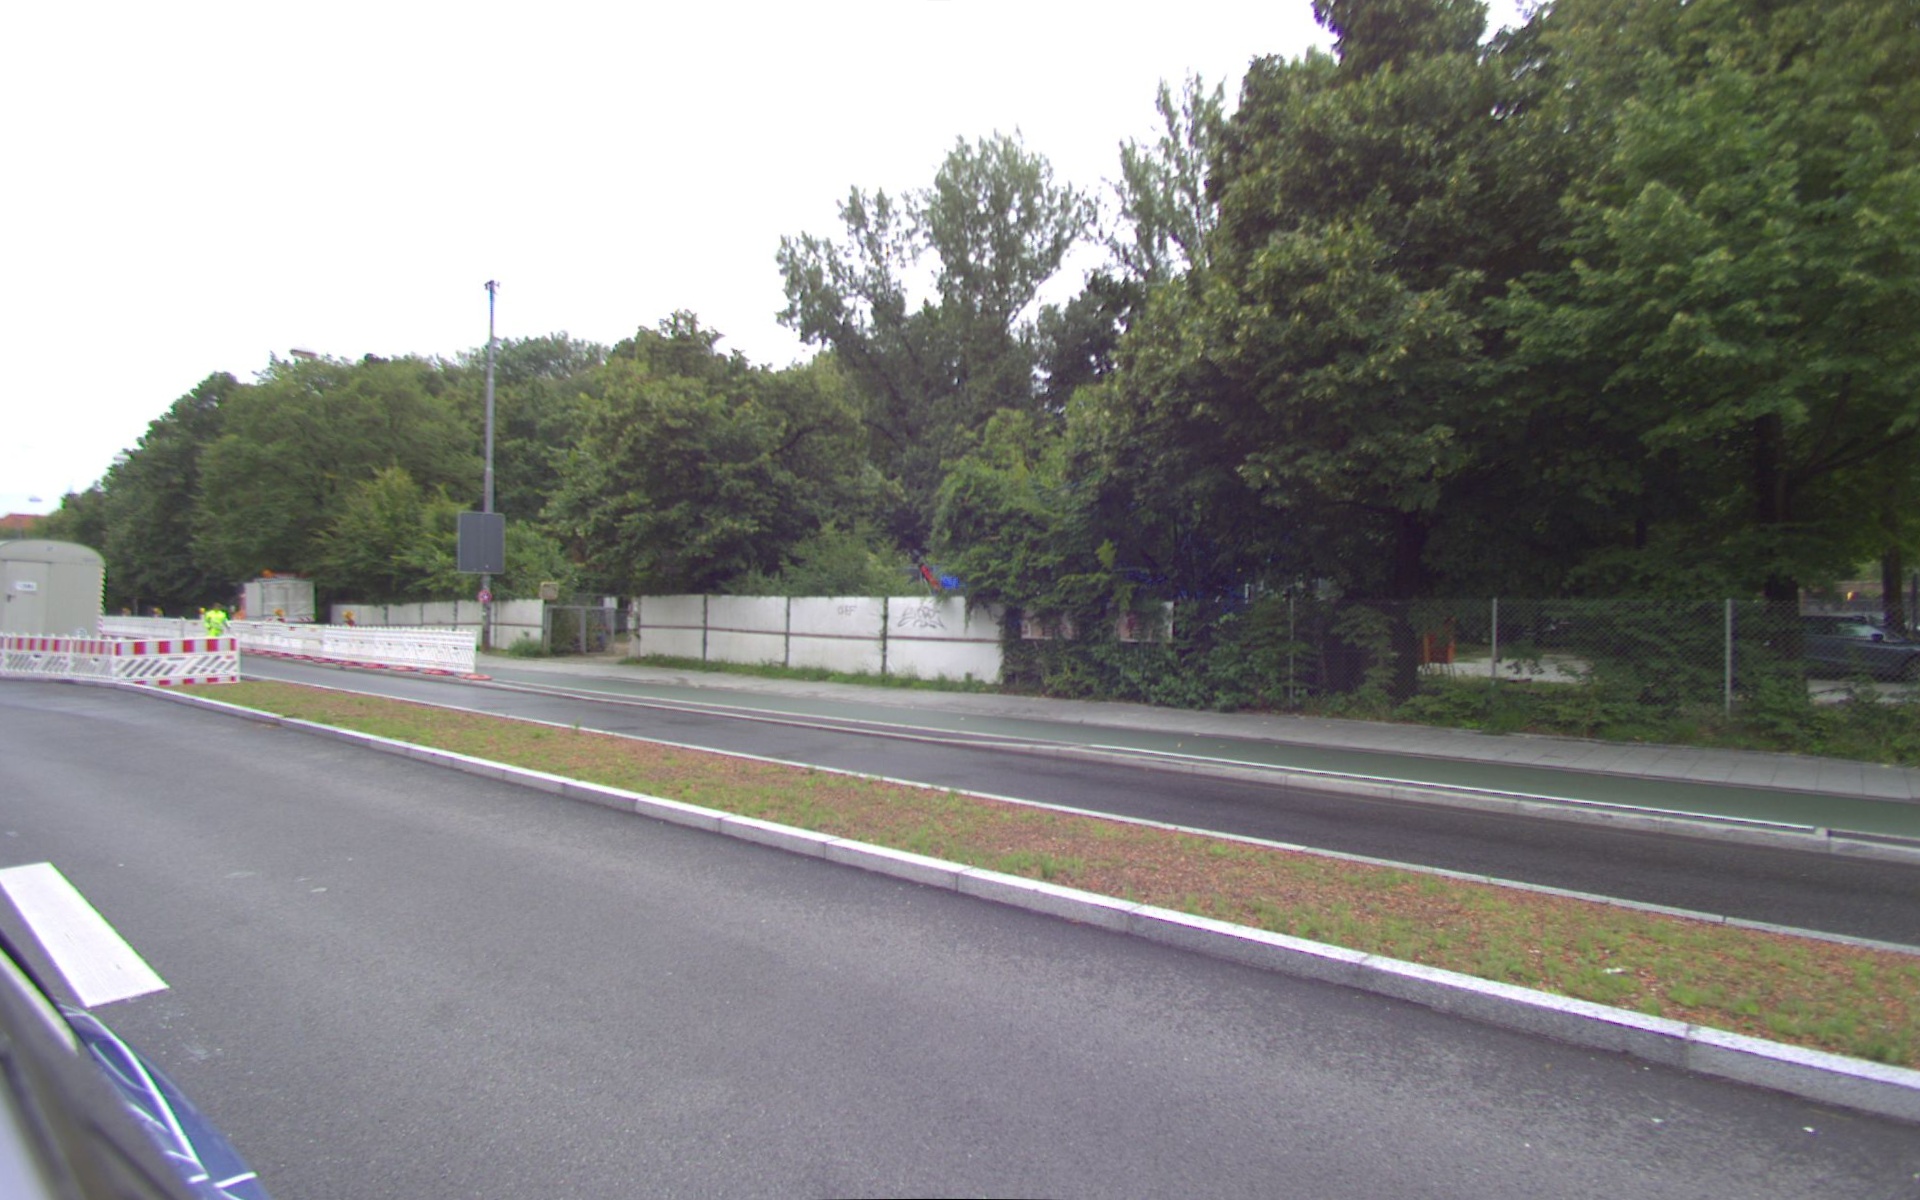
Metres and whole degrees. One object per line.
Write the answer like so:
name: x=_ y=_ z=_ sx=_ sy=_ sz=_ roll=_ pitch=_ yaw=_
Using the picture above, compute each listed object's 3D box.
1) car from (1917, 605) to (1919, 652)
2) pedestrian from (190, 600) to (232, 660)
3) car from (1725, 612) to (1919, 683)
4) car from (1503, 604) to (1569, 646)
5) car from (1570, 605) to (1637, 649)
car: x=35.115 y=1.007 z=35.385 sx=1.997 sy=1.732 sz=3.948 roll=-1 pitch=-1 yaw=38
pedestrian: x=-24.825 y=0.986 z=33.558 sx=0.874 sy=1.956 sz=0.879 roll=-1 pitch=-2 yaw=38
car: x=20.657 y=1.071 z=23.974 sx=3.996 sy=1.556 sz=1.753 roll=-1 pitch=-1 yaw=39
car: x=24.987 y=1.072 z=43.842 sx=1.997 sy=1.732 sz=3.949 roll=-1 pitch=-1 yaw=37
car: x=27.152 y=1.117 z=42.648 sx=1.997 sy=1.732 sz=3.948 roll=-1 pitch=-1 yaw=38
